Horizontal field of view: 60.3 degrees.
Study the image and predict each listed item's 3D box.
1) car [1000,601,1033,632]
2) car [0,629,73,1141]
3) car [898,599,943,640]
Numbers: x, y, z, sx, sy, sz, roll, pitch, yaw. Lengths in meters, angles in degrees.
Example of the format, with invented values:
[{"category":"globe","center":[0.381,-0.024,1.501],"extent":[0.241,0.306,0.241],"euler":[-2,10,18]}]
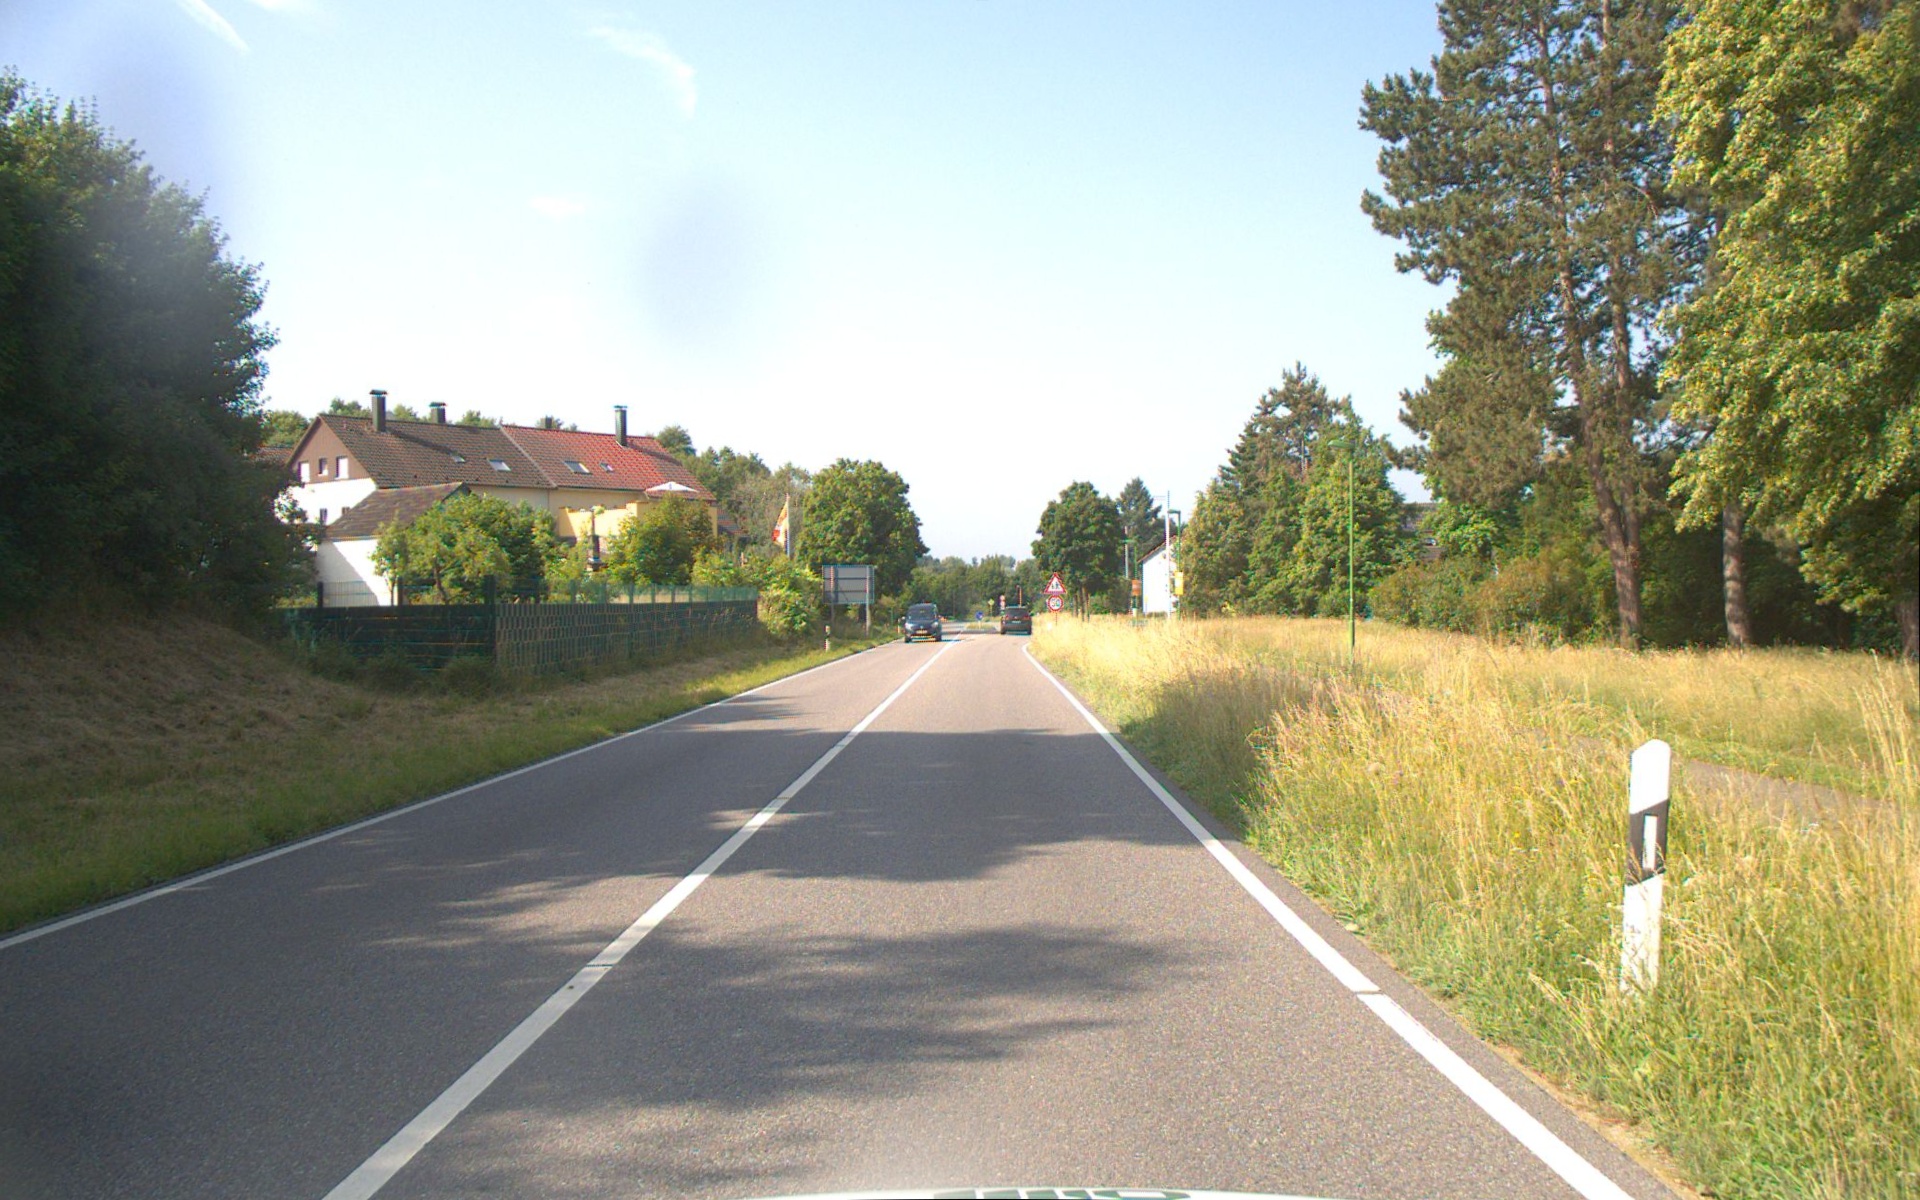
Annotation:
[{"category":"car","center":[3.451,0.984,101.283],"extent":[1.886,1.802,4.000],"euler":[-1,0,0]},{"category":"car","center":[-3.674,0.869,2.791],"extent":[1.832,1.448,4.576],"euler":[-3,0,0]},{"category":"car","center":[-1.892,0.937,80.258],"extent":[1.899,1.849,4.242],"euler":[-3,0,1]}]
